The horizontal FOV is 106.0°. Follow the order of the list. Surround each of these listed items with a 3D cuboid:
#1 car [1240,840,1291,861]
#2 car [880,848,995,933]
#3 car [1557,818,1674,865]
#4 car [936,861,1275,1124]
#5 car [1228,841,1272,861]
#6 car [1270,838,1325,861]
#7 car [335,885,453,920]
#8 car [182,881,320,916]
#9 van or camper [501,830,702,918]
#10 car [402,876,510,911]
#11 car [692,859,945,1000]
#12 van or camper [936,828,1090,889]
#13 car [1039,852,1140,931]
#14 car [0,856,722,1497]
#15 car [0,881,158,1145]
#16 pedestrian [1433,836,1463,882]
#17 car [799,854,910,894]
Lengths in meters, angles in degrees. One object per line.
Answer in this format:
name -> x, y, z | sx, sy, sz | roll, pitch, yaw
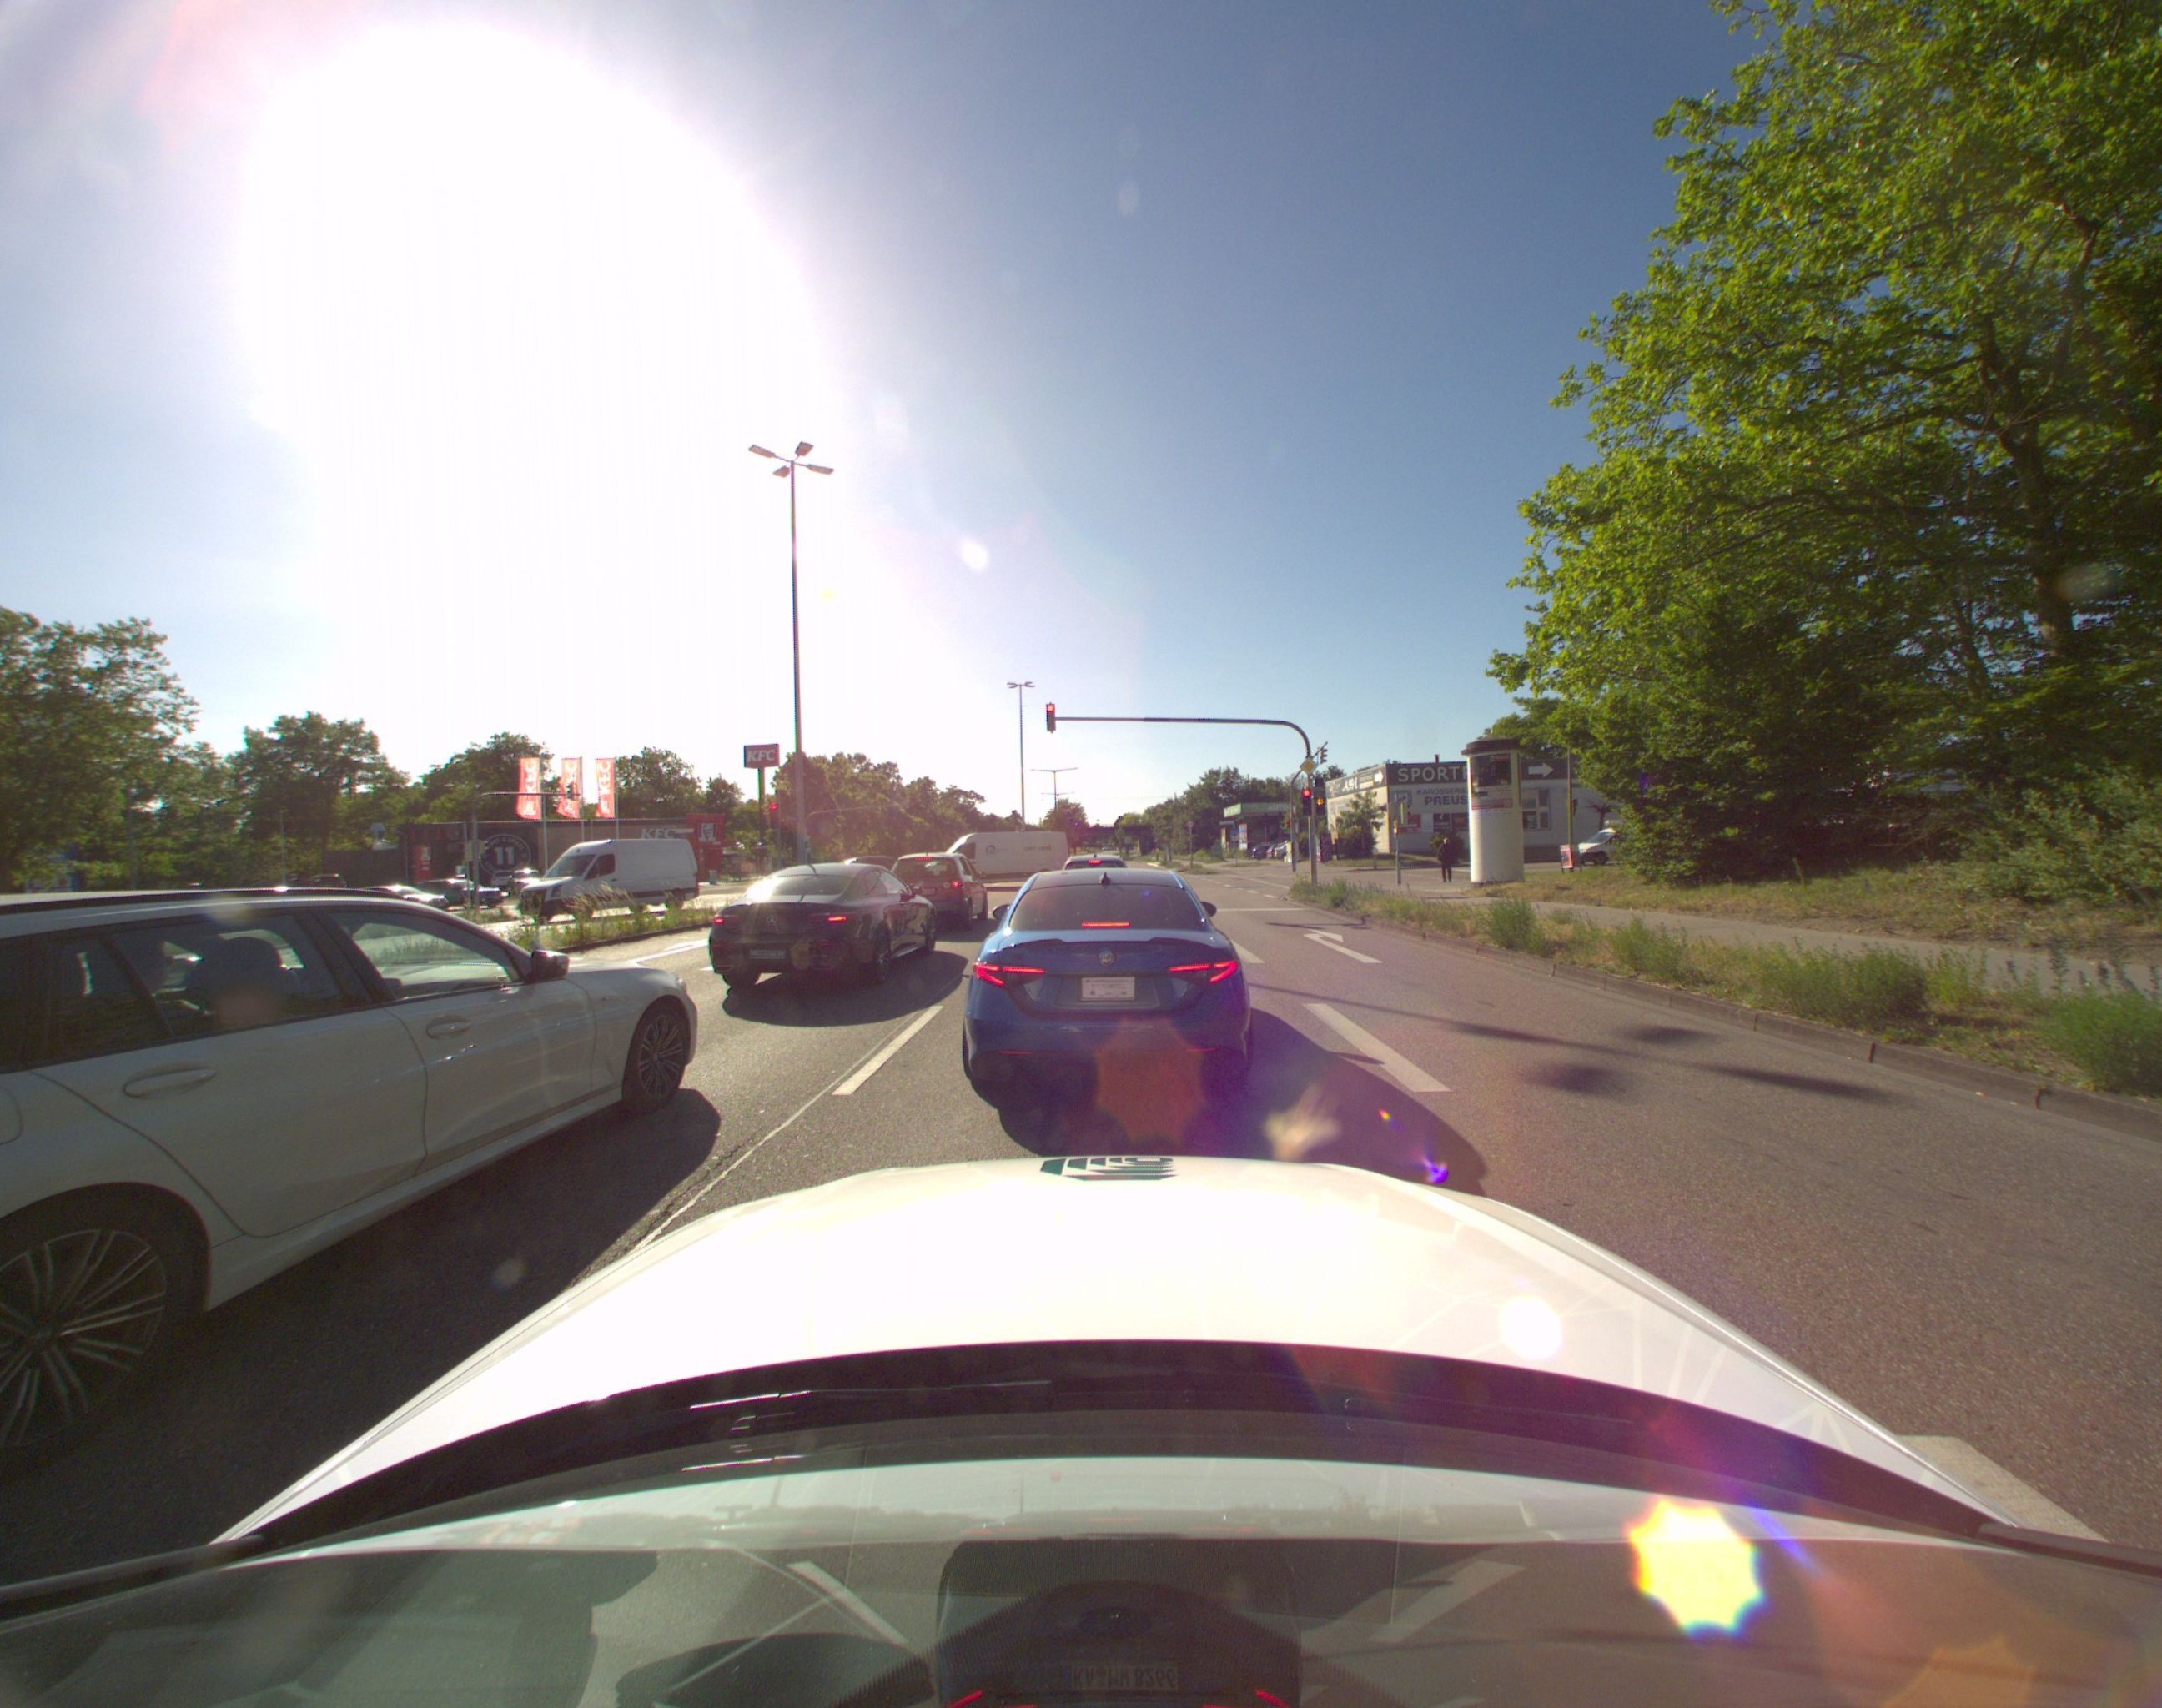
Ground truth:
car -> 16.030, -0.291, 70.770 | 3.997, 1.706, 1.685 | -1, 0, -18
car -> -2.994, 0.699, 17.751 | 1.642, 1.598, 3.933 | -1, 0, 2
car -> 25.860, -0.604, 39.501 | 4.393, 2.145, 1.999 | -1, 0, -2
car -> 0.196, 0.789, 6.495 | 1.859, 1.385, 3.933 | -1, 0, 2
car -> 15.372, -0.255, 73.979 | 3.489, 1.706, 1.687 | -1, 0, -14
car -> 17.500, -0.360, 65.877 | 3.993, 1.706, 1.687 | -1, 0, -15
car -> -32.134, 2.236, 38.176 | 4.019, 1.429, 1.826 | -1, 0, 3
car -> -39.256, 2.082, 38.584 | 4.701, 1.429, 1.865 | -1, 1, 2
van or camper -> -16.030, 0.585, 27.763 | 1.977, 2.651, 5.986 | -1, 0, 19
car -> -31.930, 1.987, 41.698 | 4.025, 1.595, 1.824 | -2, 0, -1
car -> -3.148, 0.814, 10.842 | 1.762, 1.414, 4.463 | -1, 0, 2
van or camper -> -3.162, 0.149, 37.744 | 6.750, 2.572, 2.172 | -2, 0, -18
car -> 0.226, 0.702, 17.206 | 1.859, 1.450, 3.933 | -1, 0, 2
car -> -3.434, 0.799, 3.369 | 1.762, 1.509, 4.463 | -1, 0, 2
car -> -6.990, 0.921, 3.073 | 1.850, 1.429, 4.407 | -1, 0, 3
pedestrian -> 14.208, 0.183, 31.549 | 0.818, 1.721, 0.856 | -2, 0, 9
car -> -10.428, 0.885, 37.548 | 4.626, 1.653, 1.981 | -2, 0, -29
